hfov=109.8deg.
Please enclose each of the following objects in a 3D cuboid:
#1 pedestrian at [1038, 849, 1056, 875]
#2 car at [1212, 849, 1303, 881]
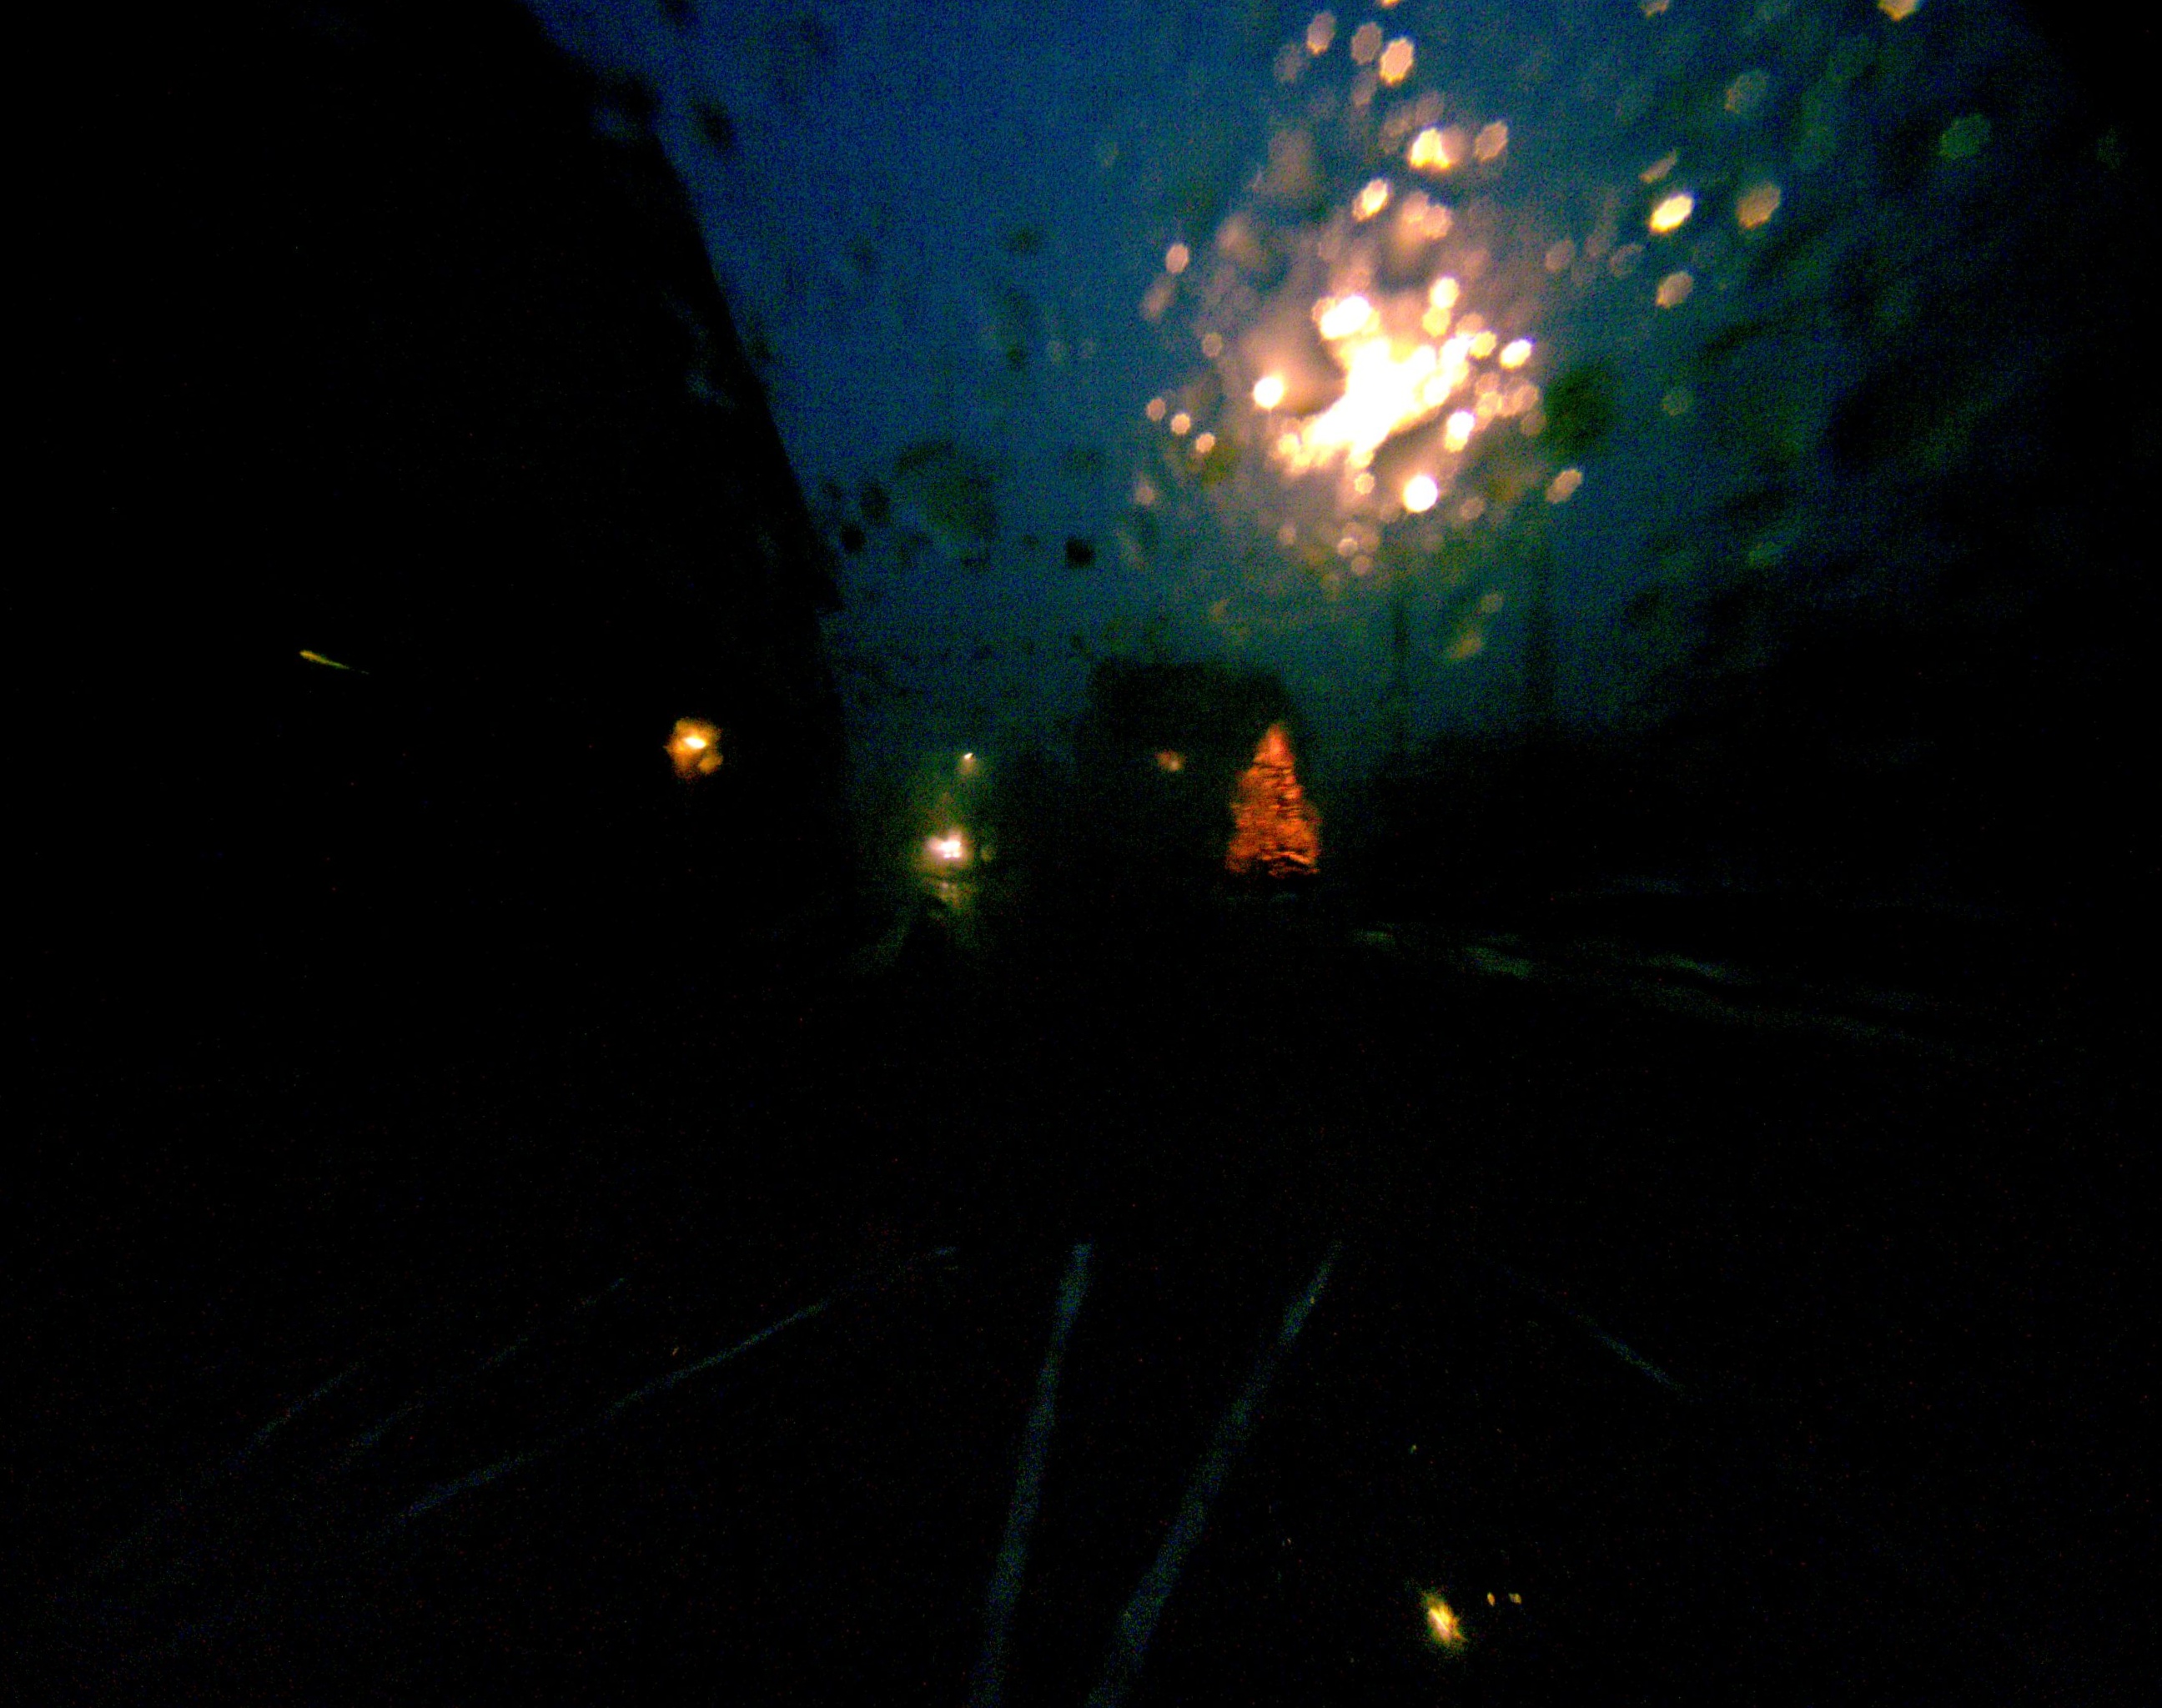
[{"bbox_3d":[-1.781,0.415,40.073,0.811,1.322,0.659,-1,2,-17],"label":"pedestrian"},{"bbox_3d":[8.246,0.484,35.595,3.789,1.365,1.624,-1,1,-13],"label":"car"}]
